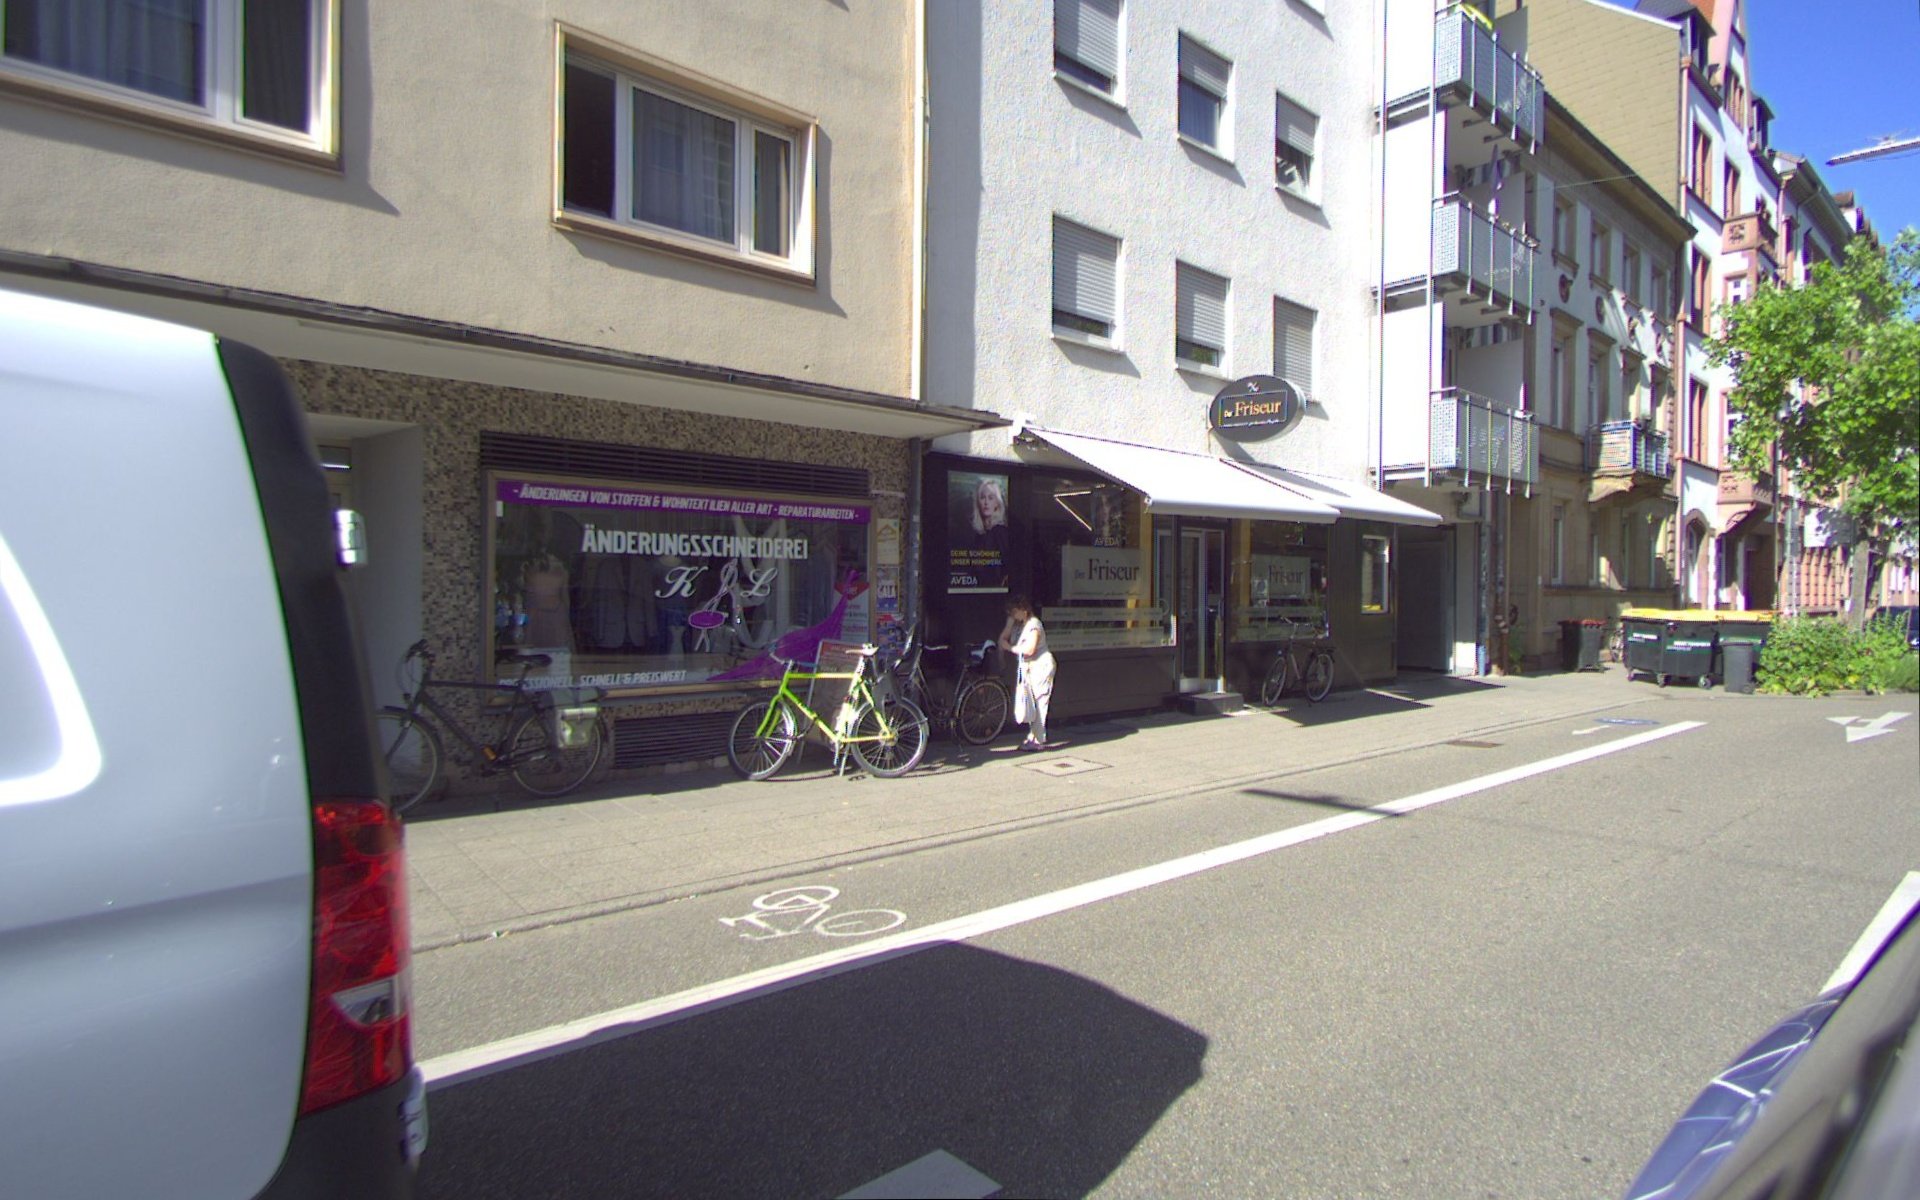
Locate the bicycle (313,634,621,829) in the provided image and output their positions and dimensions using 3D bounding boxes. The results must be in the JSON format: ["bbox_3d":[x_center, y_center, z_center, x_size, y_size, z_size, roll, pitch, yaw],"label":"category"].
[{"bbox_3d":[-3.201,0.804,6.669,1.766,1.098,0.408,0,3,-36],"label":"bicycle"}]

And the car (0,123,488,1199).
[{"bbox_3d":[-2.983,0.477,0.374,4.750,1.833,1.971,-1,1,-42],"label":"car"}]

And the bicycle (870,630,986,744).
[{"bbox_3d":[-0.293,0.810,9.741,1.155,0.995,0.375,0,0,-43],"label":"bicycle"}]

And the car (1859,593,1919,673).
[{"bbox_3d":[20.703,0.663,21.770,3.485,1.616,1.626,0,1,-41],"label":"car"}]

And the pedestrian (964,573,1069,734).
[{"bbox_3d":[0.543,0.476,9.725,0.774,1.460,0.615,2,1,45],"label":"pedestrian"}]

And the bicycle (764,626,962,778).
[{"bbox_3d":[-0.798,0.806,8.404,1.475,1.120,0.719,1,0,18],"label":"bicycle"}]

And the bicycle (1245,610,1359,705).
[{"bbox_3d":[4.623,0.742,13.632,1.743,1.157,0.598,0,3,-41],"label":"bicycle"}]
